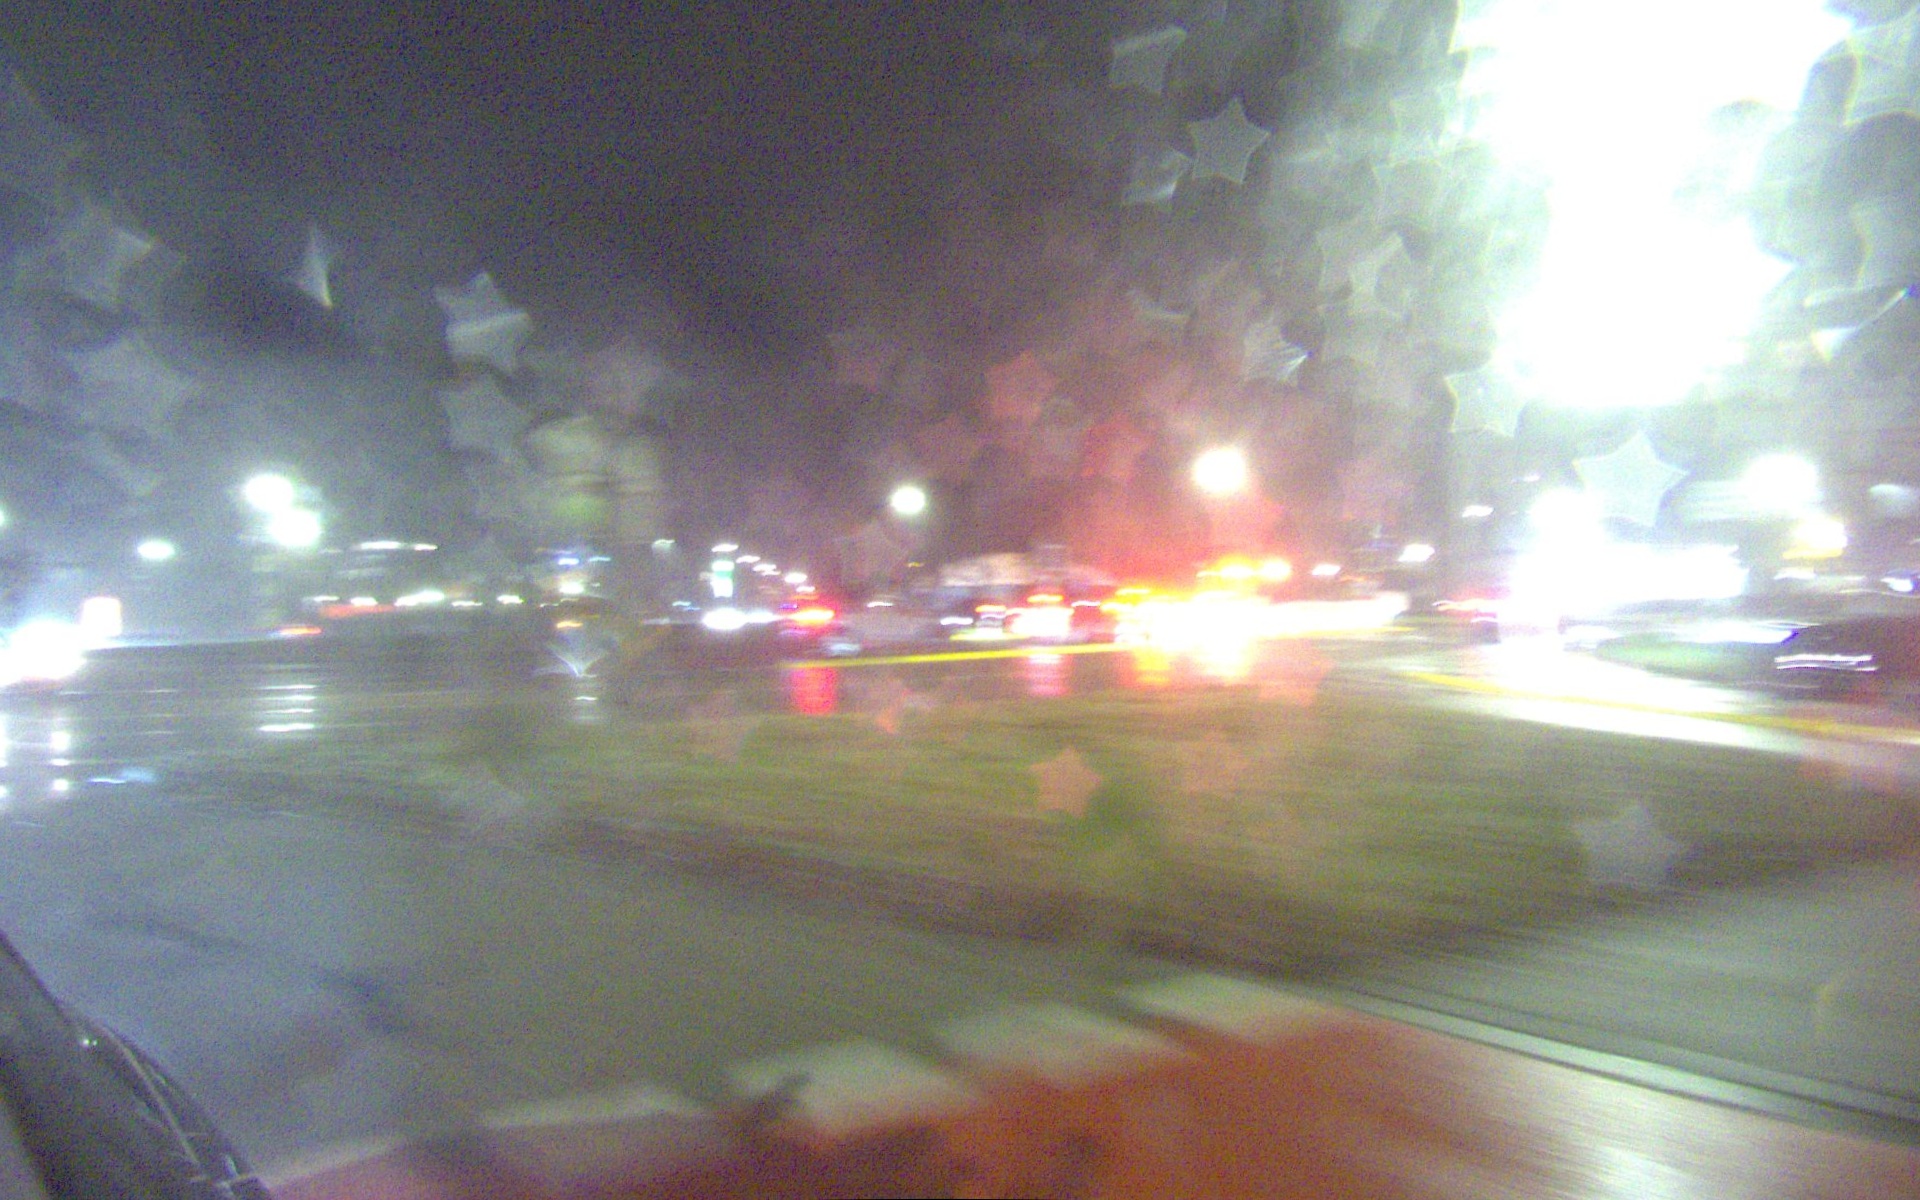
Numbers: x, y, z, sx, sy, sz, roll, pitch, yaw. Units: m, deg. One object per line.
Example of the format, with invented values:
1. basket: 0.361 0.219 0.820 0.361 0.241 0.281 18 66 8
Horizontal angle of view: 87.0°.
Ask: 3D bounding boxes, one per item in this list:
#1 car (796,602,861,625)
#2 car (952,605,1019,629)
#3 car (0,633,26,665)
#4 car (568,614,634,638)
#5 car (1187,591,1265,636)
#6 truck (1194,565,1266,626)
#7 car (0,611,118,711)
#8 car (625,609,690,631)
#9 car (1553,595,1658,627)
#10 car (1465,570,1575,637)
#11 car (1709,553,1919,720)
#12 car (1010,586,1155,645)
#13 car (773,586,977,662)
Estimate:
1. car: -9.402 0.946 72.237 4.150 1.477 1.989 -2 0 17
2. car: 1.733 1.142 68.247 4.145 1.477 1.991 -2 0 14
3. car: -54.049 2.776 56.565 1.966 1.684 4.197 -2 0 -32
4. car: -24.506 1.766 69.024 4.113 1.477 2.006 -2 0 -21
5. car: 9.748 0.452 36.934 1.989 1.544 4.149 -1 0 26
6. truck: 11.695 -0.190 44.396 2.297 2.415 7.790 -1 0 9
7. car: -16.415 0.994 16.352 4.584 1.477 1.644 -2 0 7
8. car: -22.259 1.461 74.486 4.145 1.477 1.991 -2 0 14
9. car: 34.878 0.601 54.782 4.370 1.634 2.000 -1 0 1
10. car: 16.288 0.078 29.344 1.999 1.788 3.946 -2 0 41
11. car: 10.403 0.343 9.908 2.035 1.634 4.646 -1 0 -15
12. car: 3.520 0.397 28.647 2.000 1.544 4.126 -1 0 44
13. car: -2.000 0.503 23.954 4.355 1.634 2.006 -1 0 -29
